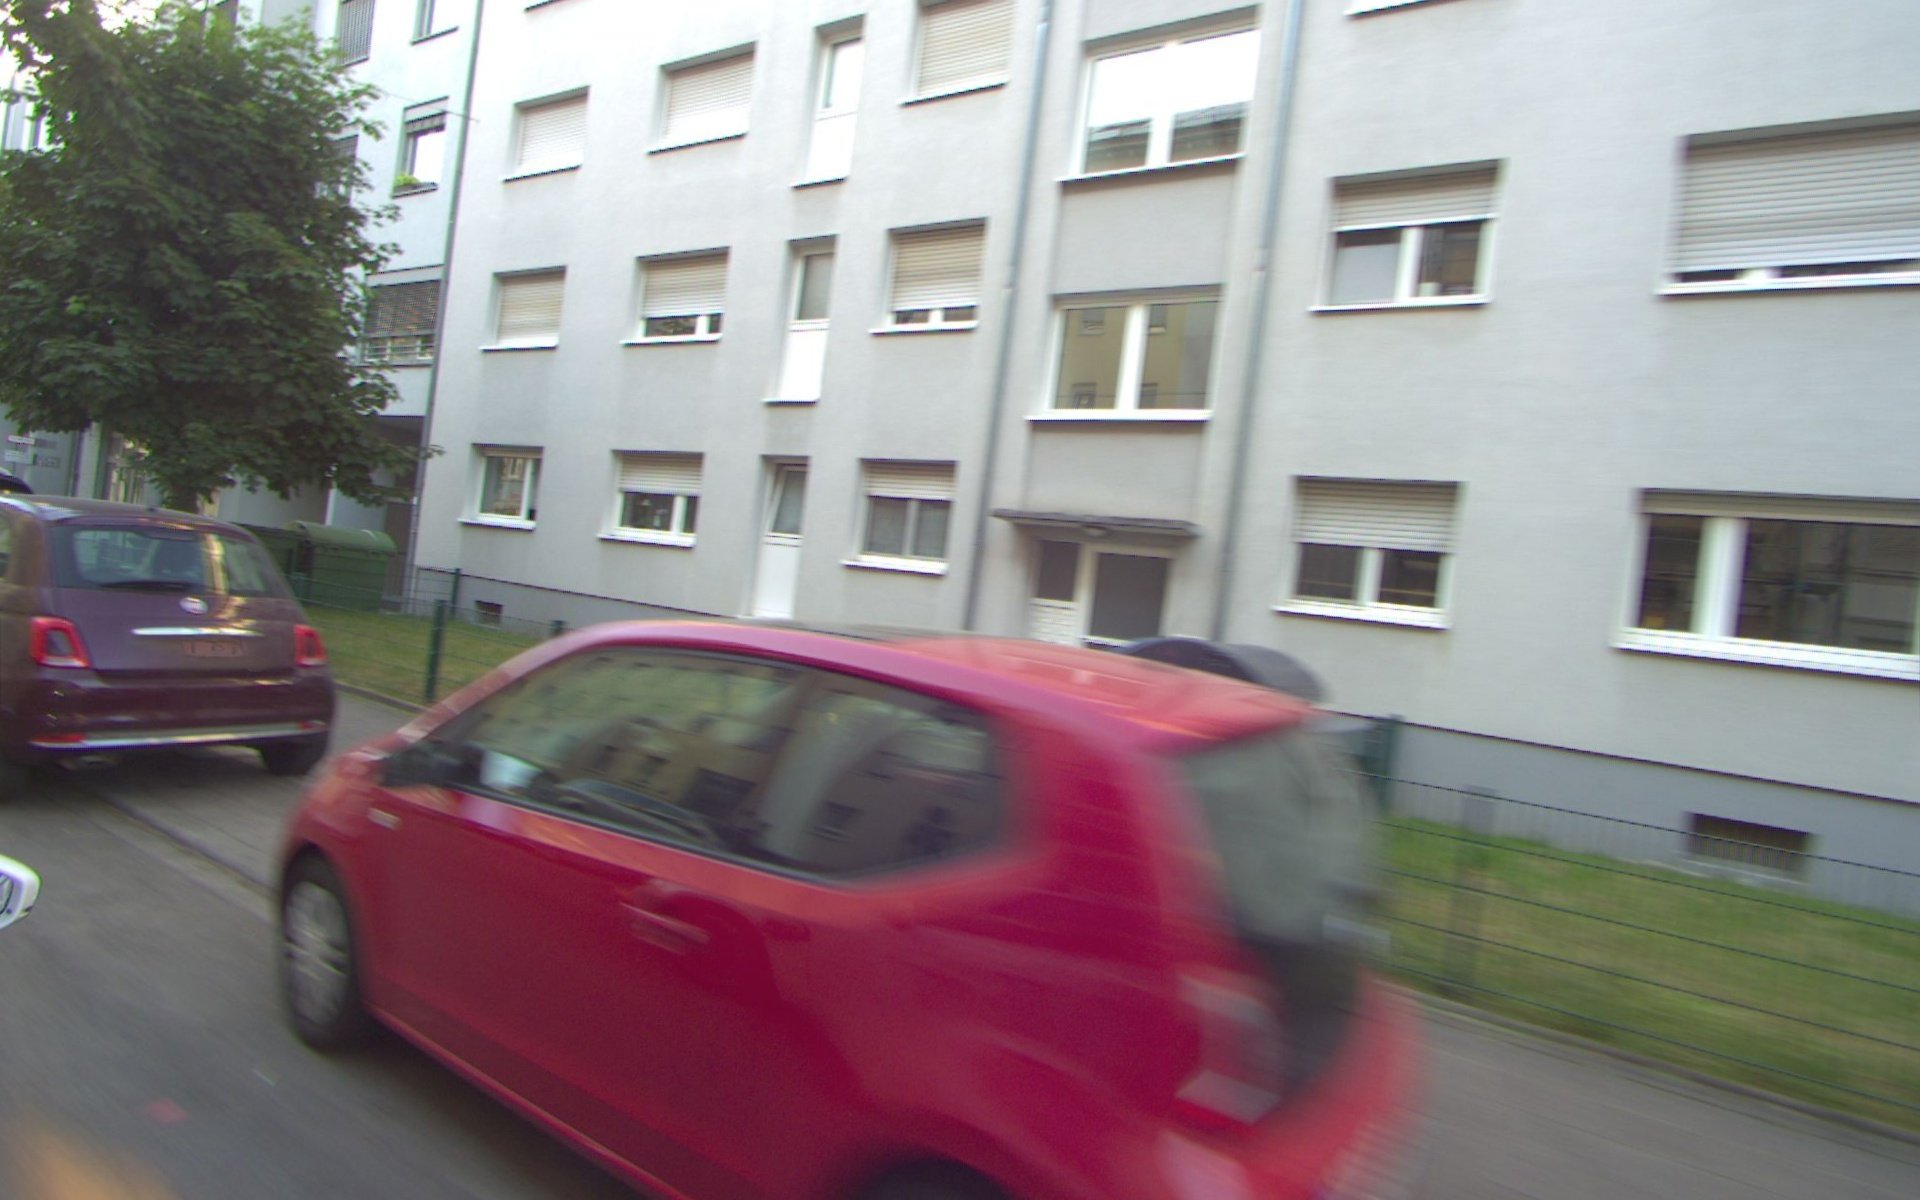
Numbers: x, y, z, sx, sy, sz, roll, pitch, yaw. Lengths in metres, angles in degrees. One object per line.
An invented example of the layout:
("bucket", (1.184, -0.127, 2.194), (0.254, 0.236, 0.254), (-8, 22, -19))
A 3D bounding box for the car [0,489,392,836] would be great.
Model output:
("car", (-5.270, 0.155, 5.993), (3.591, 1.502, 1.678), (7, 1, 32))

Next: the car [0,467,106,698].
("car", (-9.015, -0.373, 8.089), (4.644, 1.656, 1.873), (7, 1, 32))

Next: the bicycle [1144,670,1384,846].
("bicycle", (2.474, 1.242, 8.248), (1.708, 1.105, 0.602), (7, 1, 21))

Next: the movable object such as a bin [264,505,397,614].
("movable object such as a bin", (-9.652, -0.608, 15.458), (1.120, 1.454, 1.263), (7, 1, 31))

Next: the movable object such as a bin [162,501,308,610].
("movable object such as a bin", (-10.316, -0.618, 14.335), (1.120, 1.337, 1.263), (7, 1, 31))

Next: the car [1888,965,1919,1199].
("car", (3.322, 1.242, 0.385), (4.067, 1.437, 1.678), (7, 1, 32))

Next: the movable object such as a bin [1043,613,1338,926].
("movable object such as a bin", (1.389, 0.901, 5.918), (1.203, 1.454, 1.285), (7, 1, 31))

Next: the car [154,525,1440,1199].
("car", (-0.663, 0.730, 3.106), (3.591, 1.502, 1.678), (7, 1, 32))
